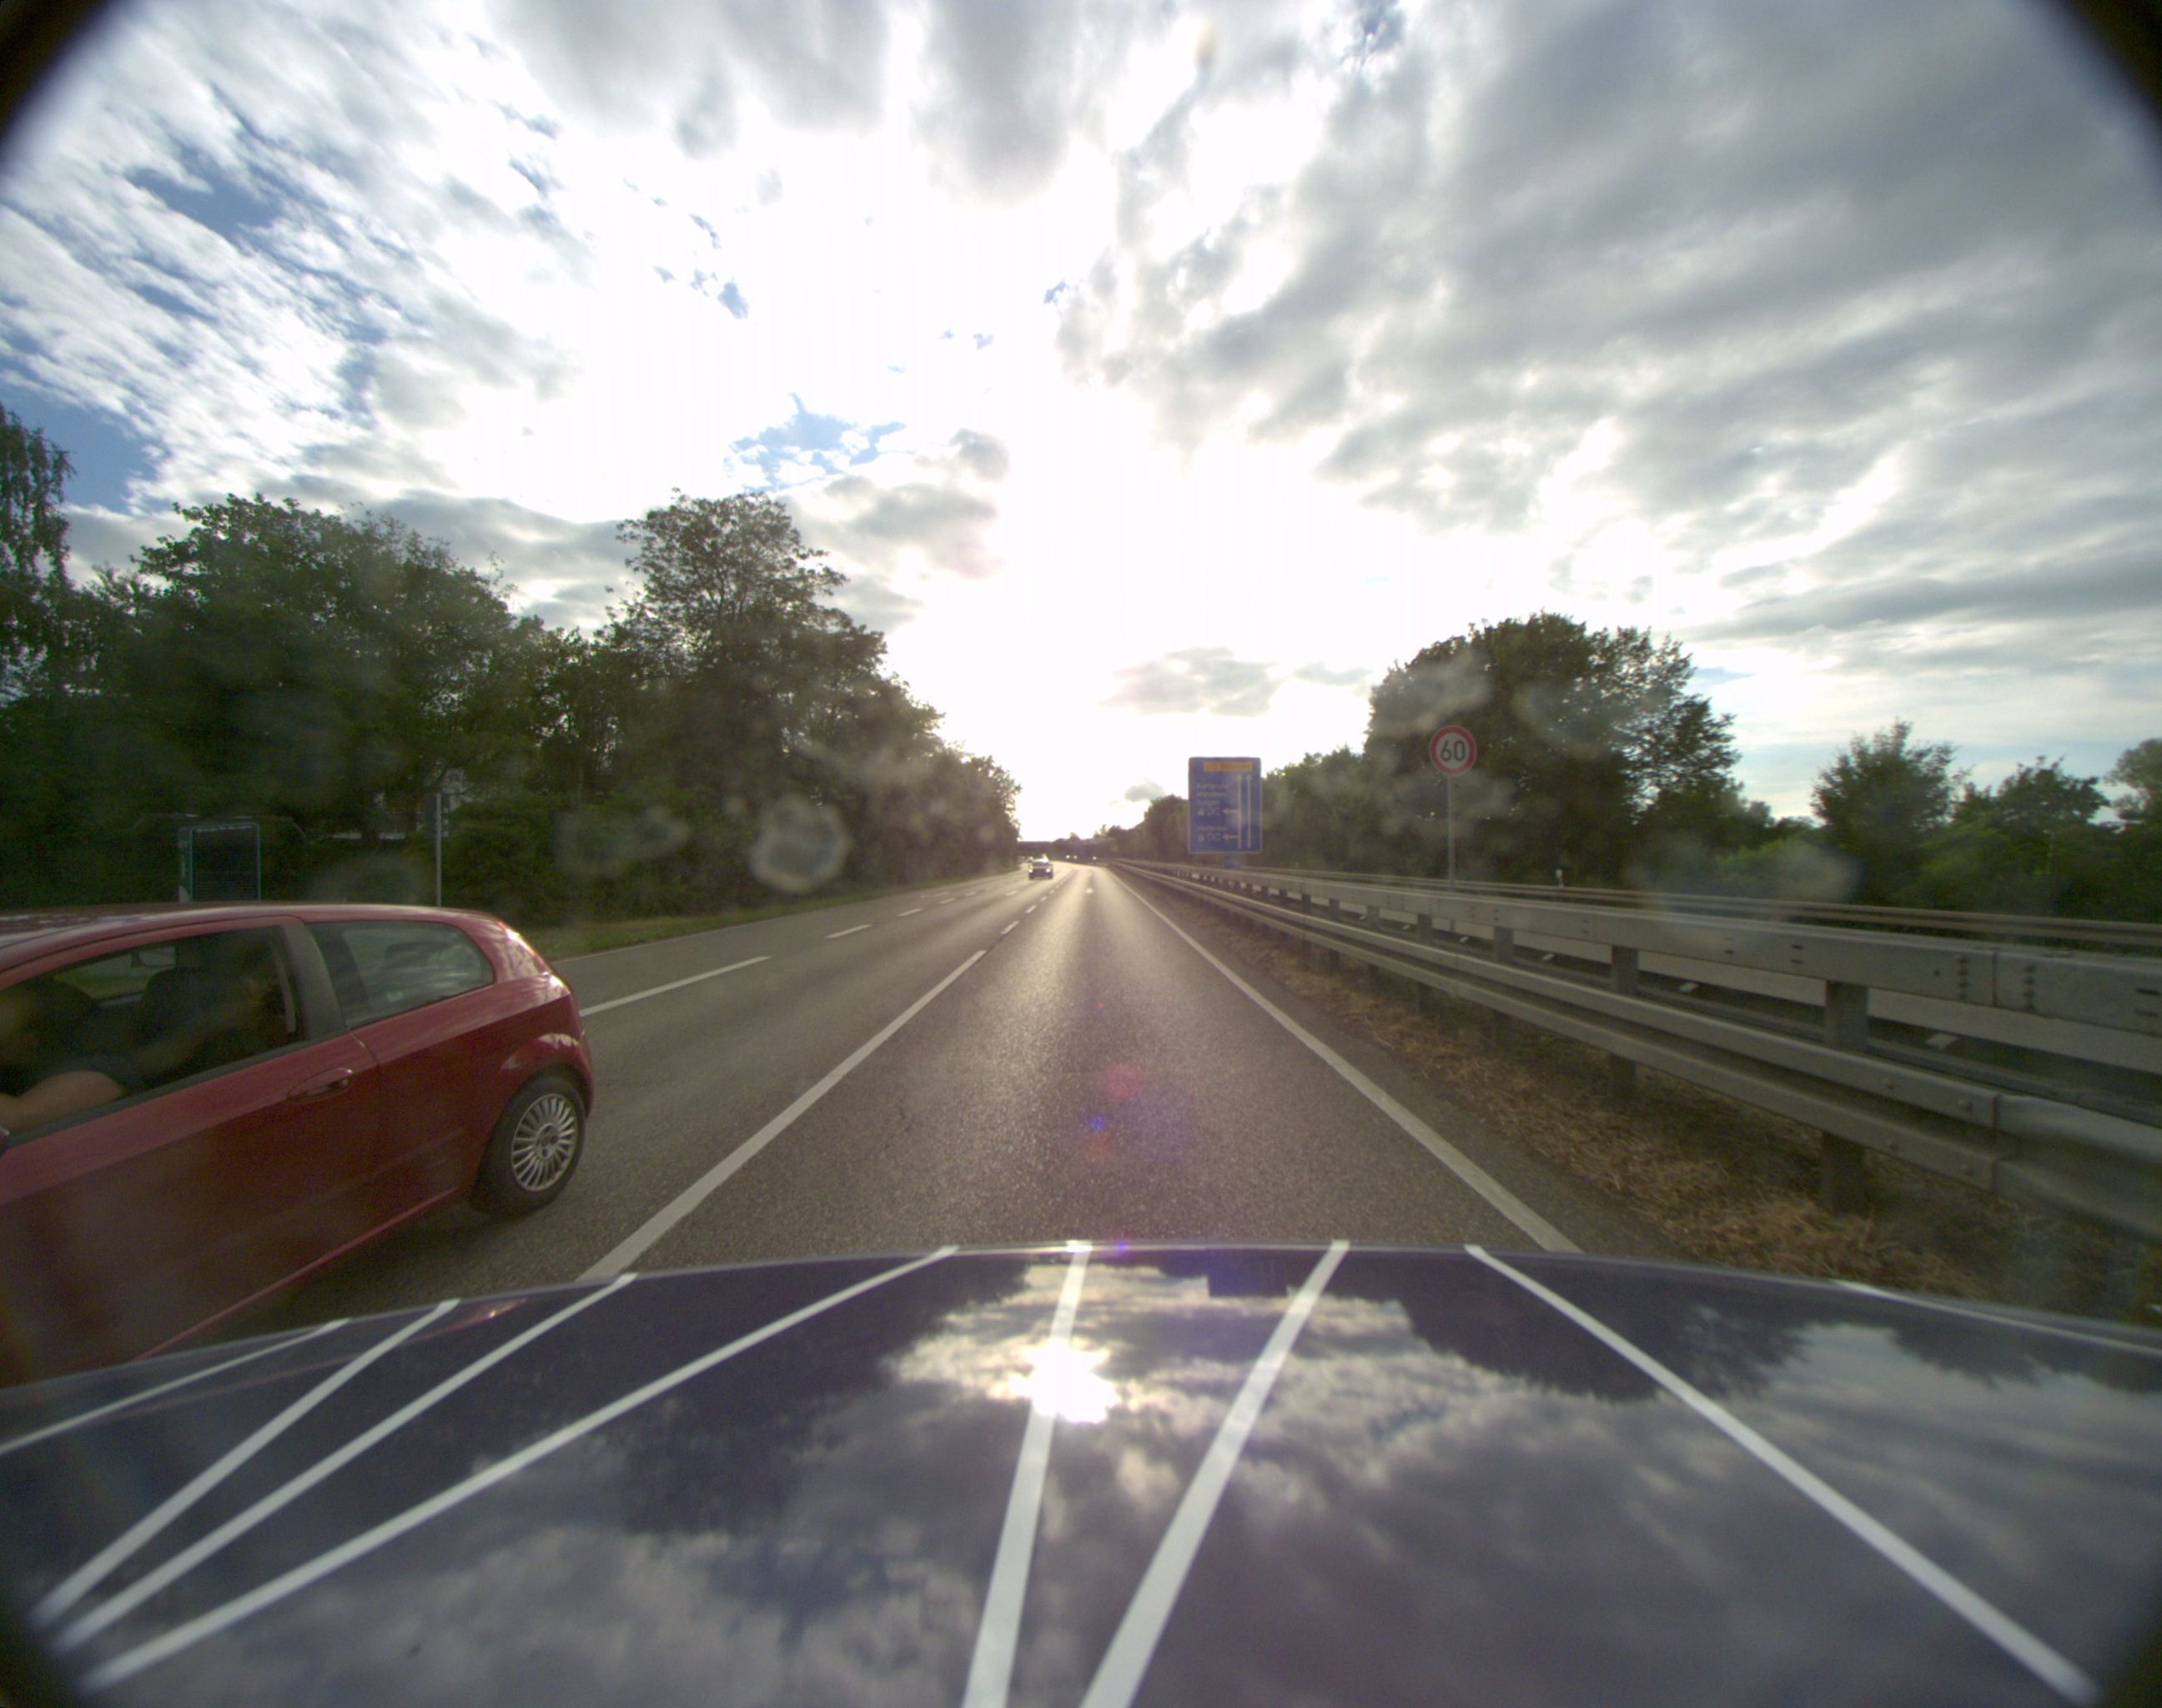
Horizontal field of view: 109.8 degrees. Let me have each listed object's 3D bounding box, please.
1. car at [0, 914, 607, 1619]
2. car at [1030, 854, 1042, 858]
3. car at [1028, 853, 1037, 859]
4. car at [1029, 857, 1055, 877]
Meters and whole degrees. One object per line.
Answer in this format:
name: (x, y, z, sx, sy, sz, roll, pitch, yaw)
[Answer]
car: (-3.308, 1.049, 1.918, 1.667, 1.424, 3.994, -2, 0, 0)
car: (-15.263, 0.687, 255.704, 3.999, 1.486, 1.999, 0, 0, -5)
car: (-12.317, 0.530, 194.124, 1.998, 1.486, 4.000, 0, 0, 1)
car: (-2.975, 0.948, 58.605, 1.700, 1.407, 4.000, -2, 0, 0)
